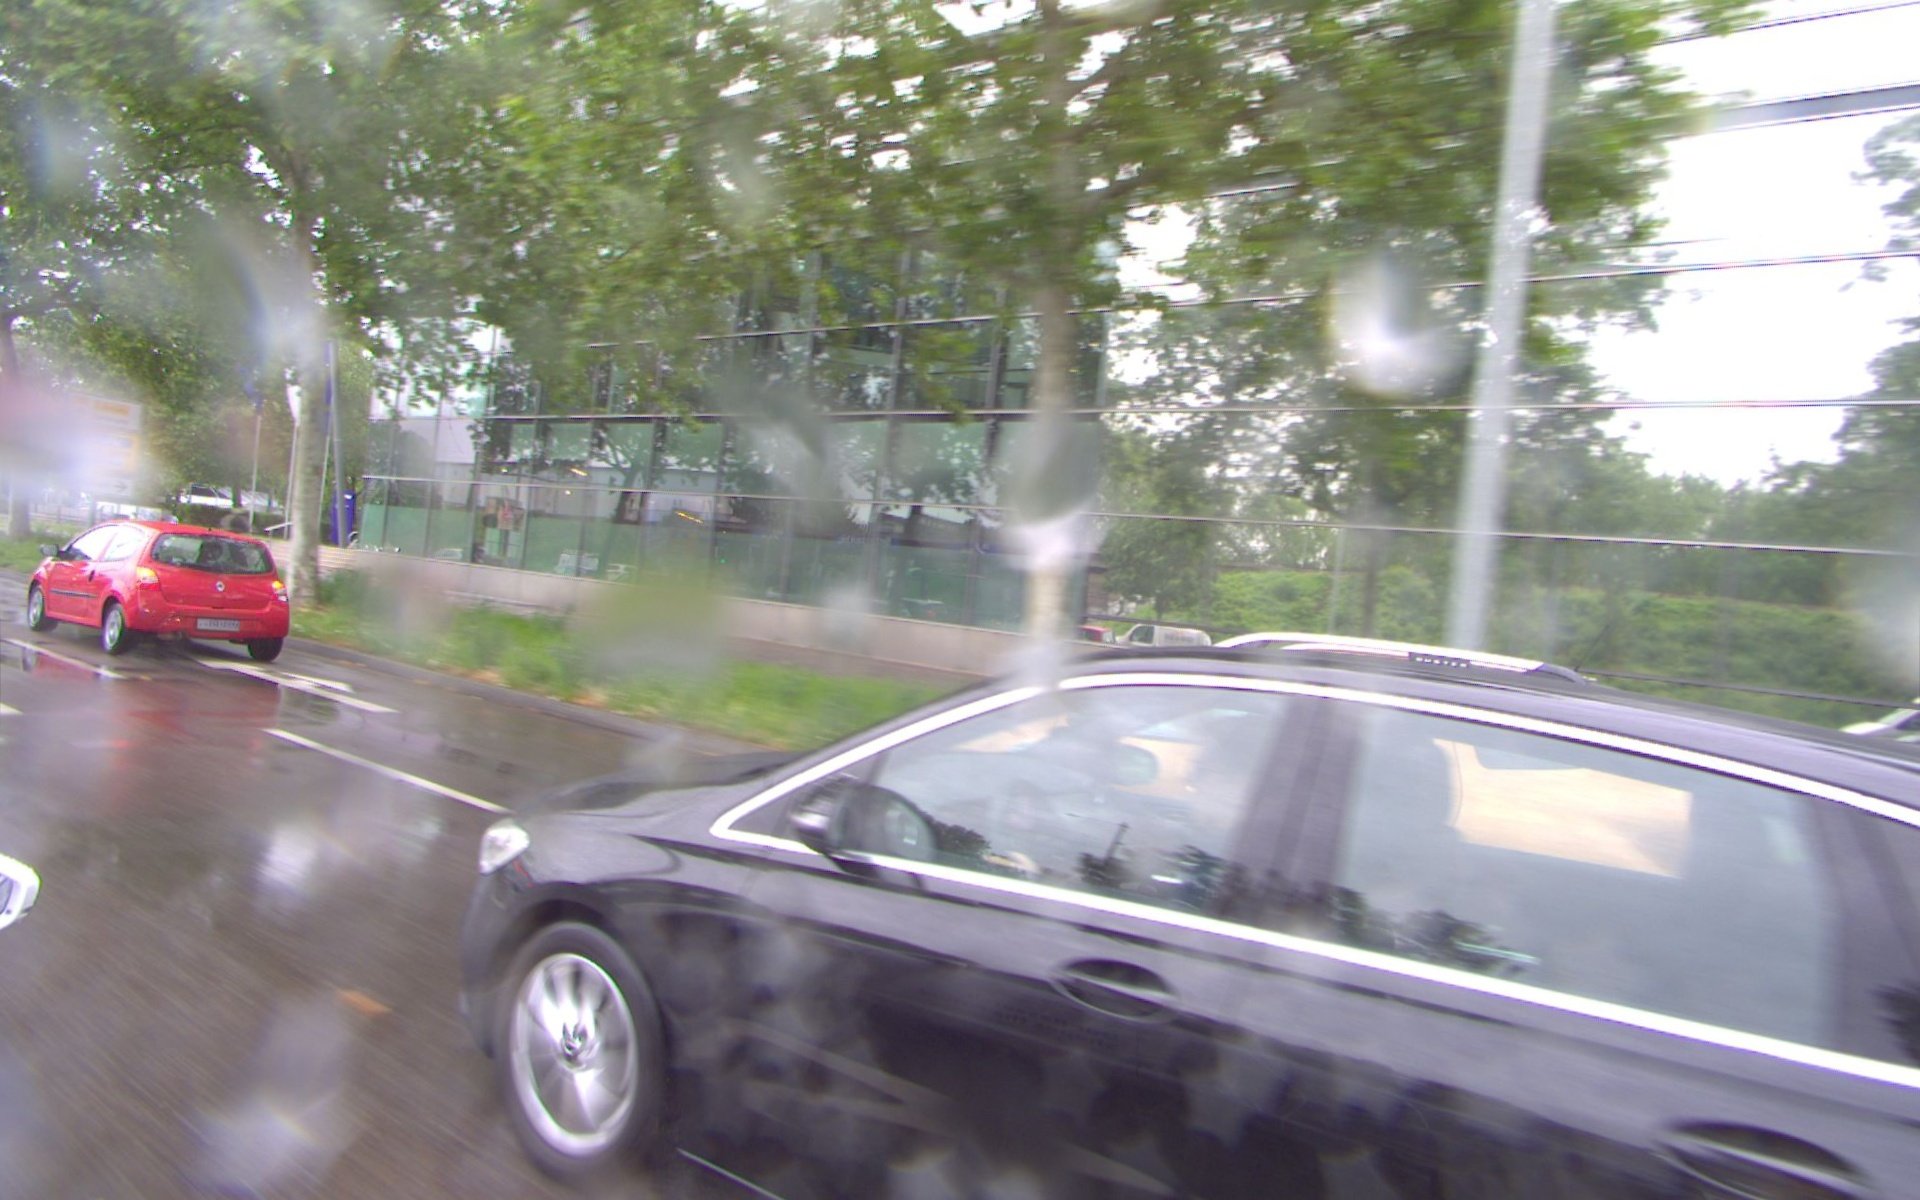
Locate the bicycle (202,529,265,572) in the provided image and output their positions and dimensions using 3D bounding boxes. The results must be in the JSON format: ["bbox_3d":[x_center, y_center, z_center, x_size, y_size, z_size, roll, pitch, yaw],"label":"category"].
[{"bbox_3d":[-22.076,-1.507,30.565,2.042,1.119,0.743,6,2,30],"label":"bicycle"}]

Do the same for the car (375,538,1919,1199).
[{"bbox_3d":[0.649,0.848,2.565,4.018,1.542,1.873,6,0,30],"label":"car"}]

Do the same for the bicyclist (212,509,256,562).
[{"bbox_3d":[-22.045,-1.953,30.535,0.739,1.536,0.805,6,3,29],"label":"bicyclist"}]

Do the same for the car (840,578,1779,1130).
[{"bbox_3d":[1.607,0.953,5.490,4.102,1.652,1.902,6,-1,33],"label":"car"}]

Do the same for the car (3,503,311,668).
[{"bbox_3d":[-9.628,-0.194,12.016,3.561,1.509,1.681,6,-1,32],"label":"car"}]
